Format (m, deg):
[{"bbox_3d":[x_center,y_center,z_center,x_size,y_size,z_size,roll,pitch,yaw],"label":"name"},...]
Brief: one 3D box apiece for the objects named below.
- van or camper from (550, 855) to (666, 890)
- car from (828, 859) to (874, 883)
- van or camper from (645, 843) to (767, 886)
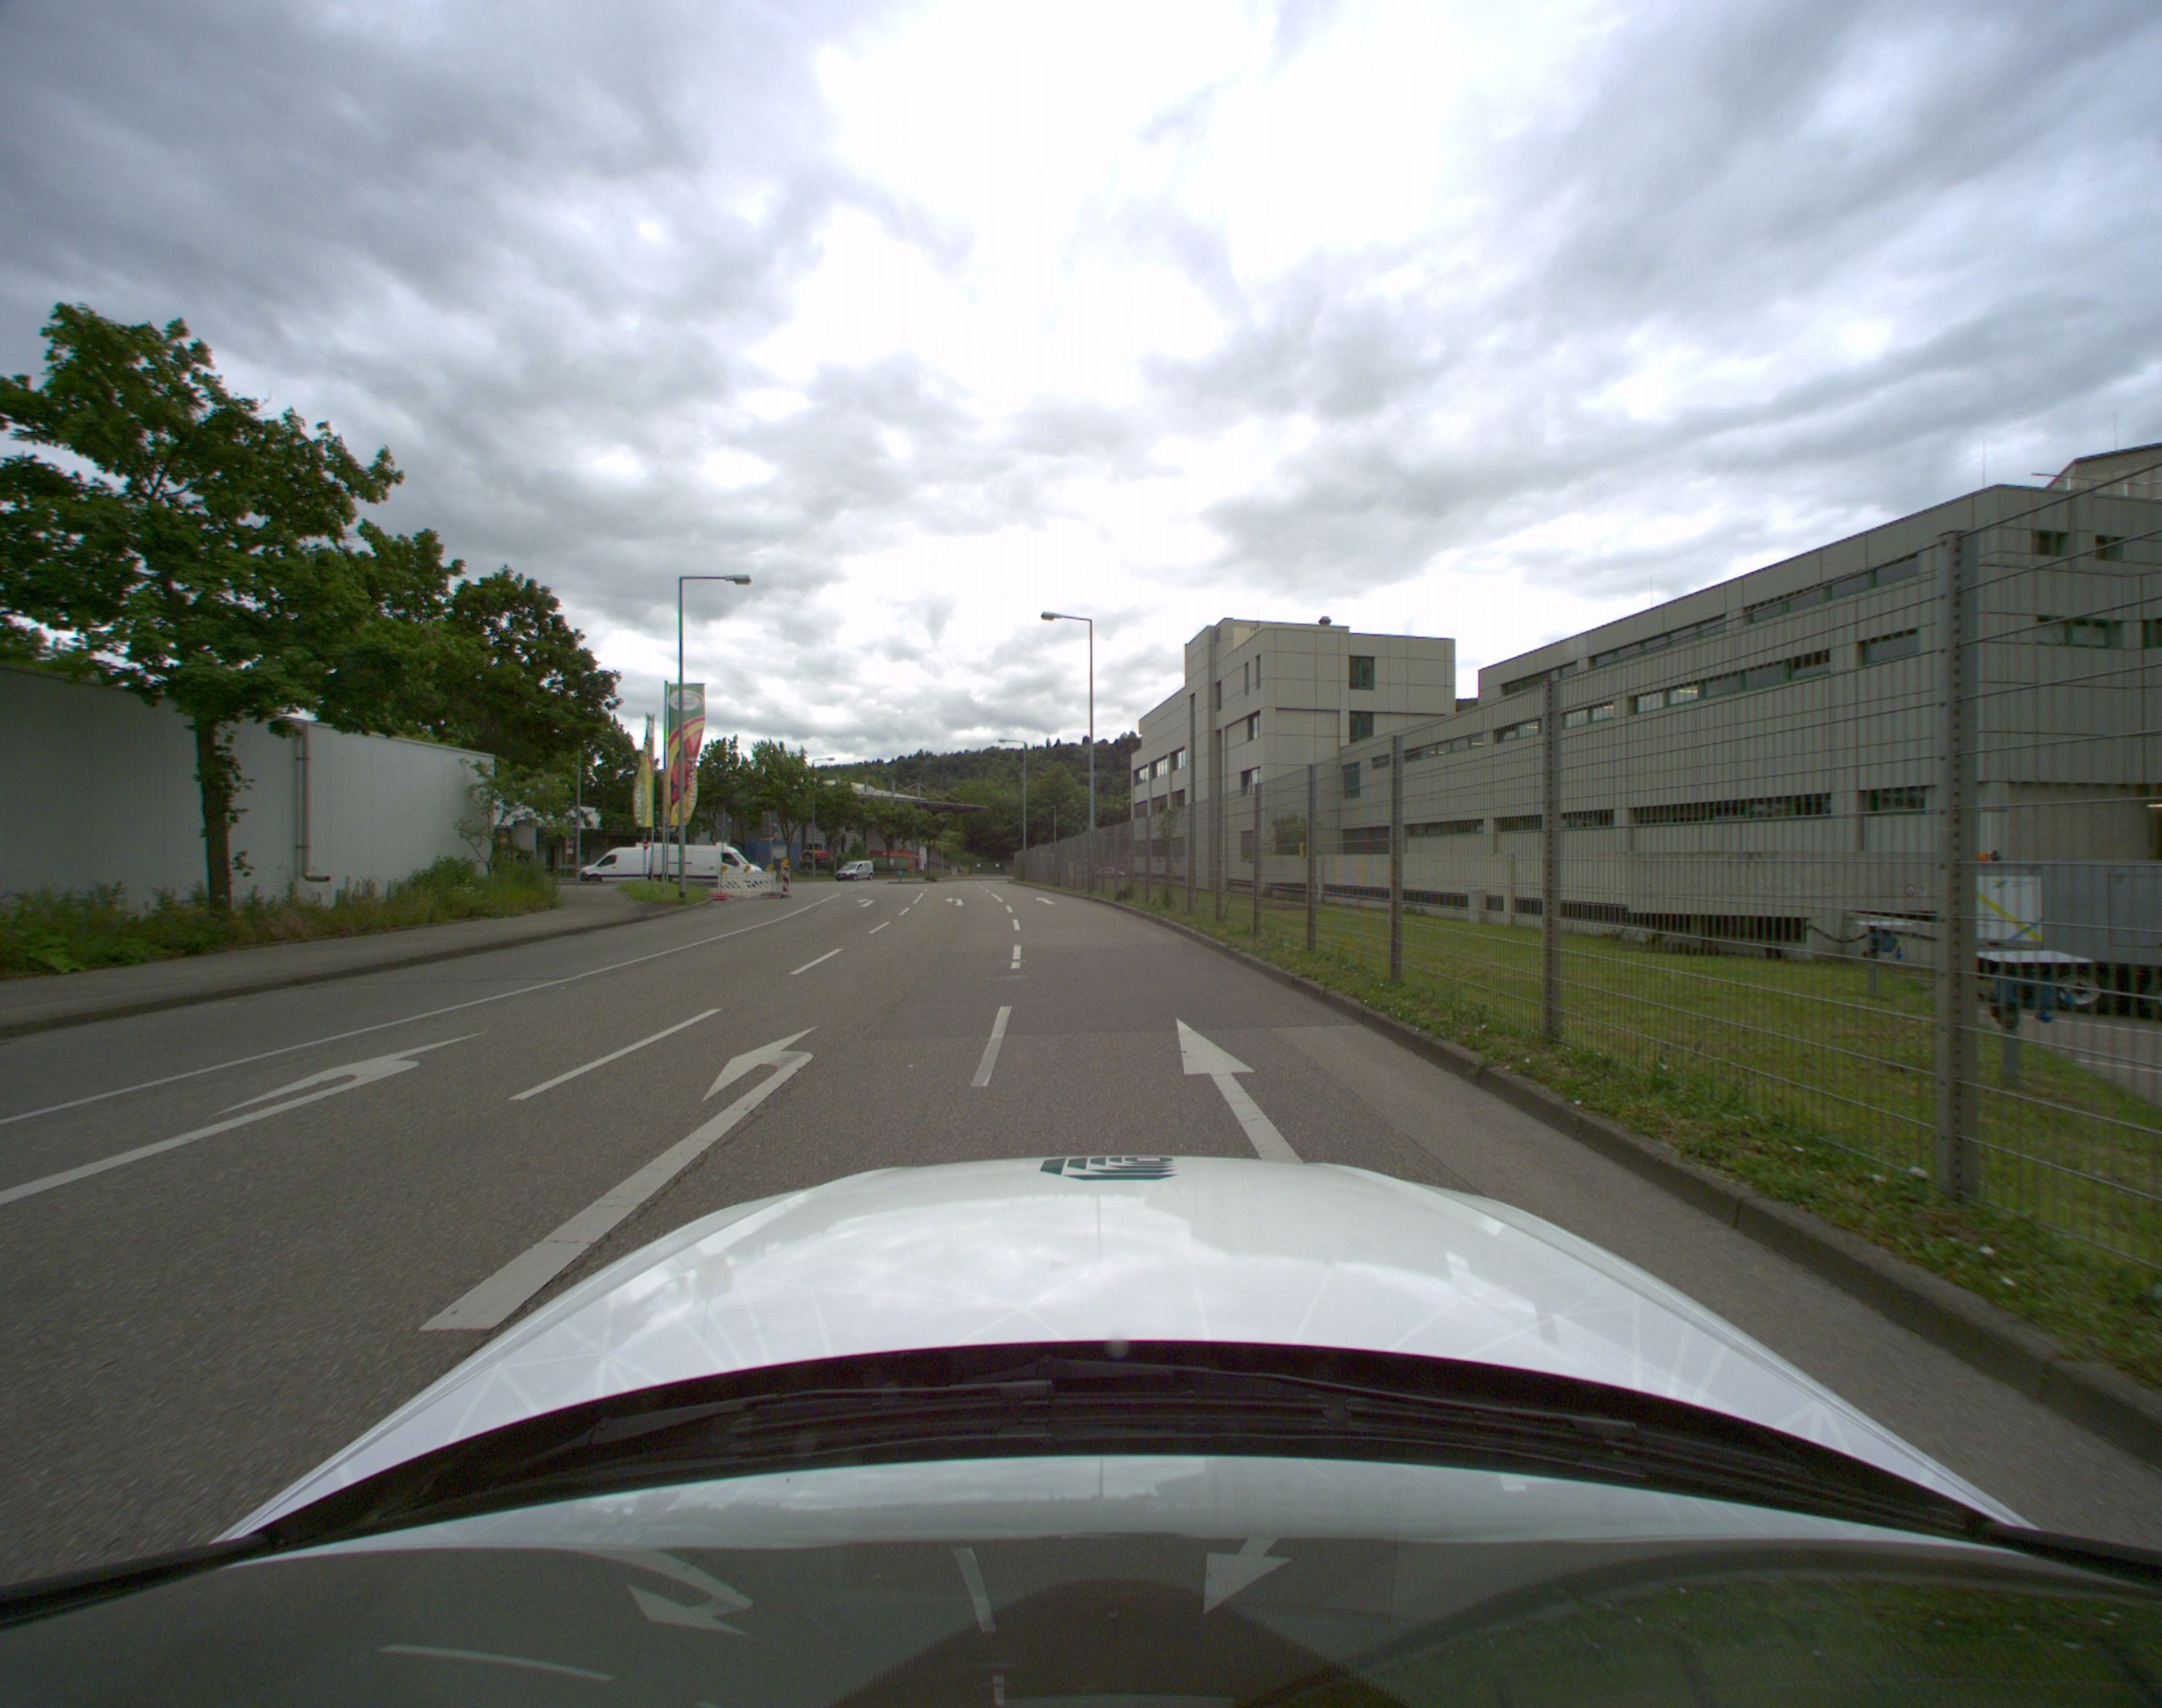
[{"bbox_3d":[-32.210,1.264,55.714,6.665,2.326,1.998,1,-2,-26],"label":"van or camper"},{"bbox_3d":[-20.903,1.514,74.081,1.977,2.014,4.150,0,0,18],"label":"car"},{"bbox_3d":[-21.870,0.647,47.767,5.981,2.247,2.389,2,-2,-8],"label":"van or camper"}]
